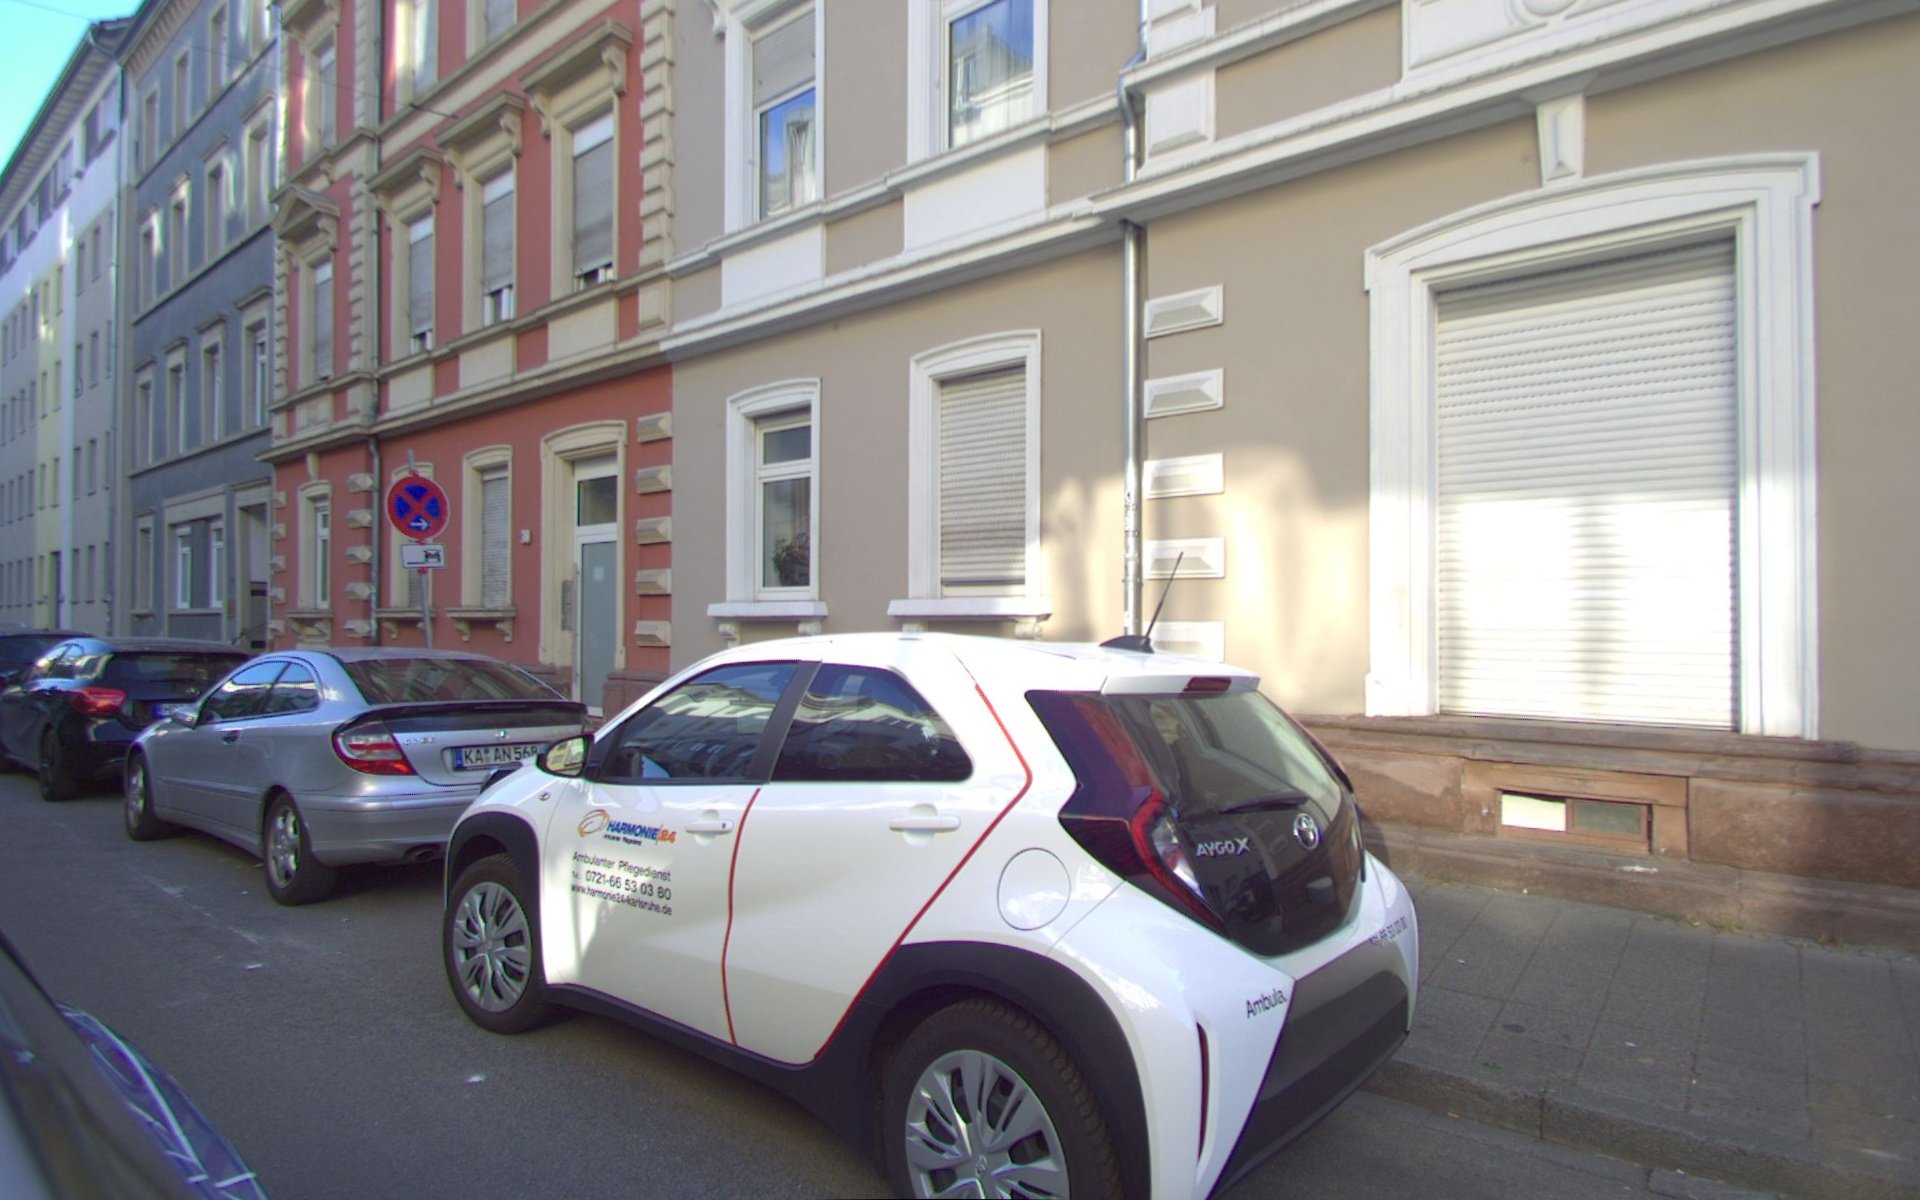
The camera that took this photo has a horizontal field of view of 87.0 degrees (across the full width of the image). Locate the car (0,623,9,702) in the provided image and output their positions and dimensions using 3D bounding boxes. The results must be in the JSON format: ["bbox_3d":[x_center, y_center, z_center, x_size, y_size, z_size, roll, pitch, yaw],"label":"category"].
[{"bbox_3d":[-21.320,1.255,20.796,4.261,1.572,1.902,-2,-4,38],"label":"car"}]

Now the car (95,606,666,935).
[{"bbox_3d":[-4.127,0.915,6.954,4.261,1.572,1.902,-2,-4,38],"label":"car"}]

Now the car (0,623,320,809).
[{"bbox_3d":[-8.405,1.032,10.240,4.261,1.495,1.902,-2,-4,38],"label":"car"}]

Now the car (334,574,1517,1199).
[{"bbox_3d":[-0.500,0.817,3.814,4.264,1.519,1.901,-2,-4,40],"label":"car"}]

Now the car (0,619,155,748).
[{"bbox_3d":[-13.007,1.091,14.044,4.234,1.572,1.883,-2,-4,38],"label":"car"}]

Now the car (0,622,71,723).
[{"bbox_3d":[-16.772,1.172,17.043,4.261,1.572,1.902,-2,-4,38],"label":"car"}]
